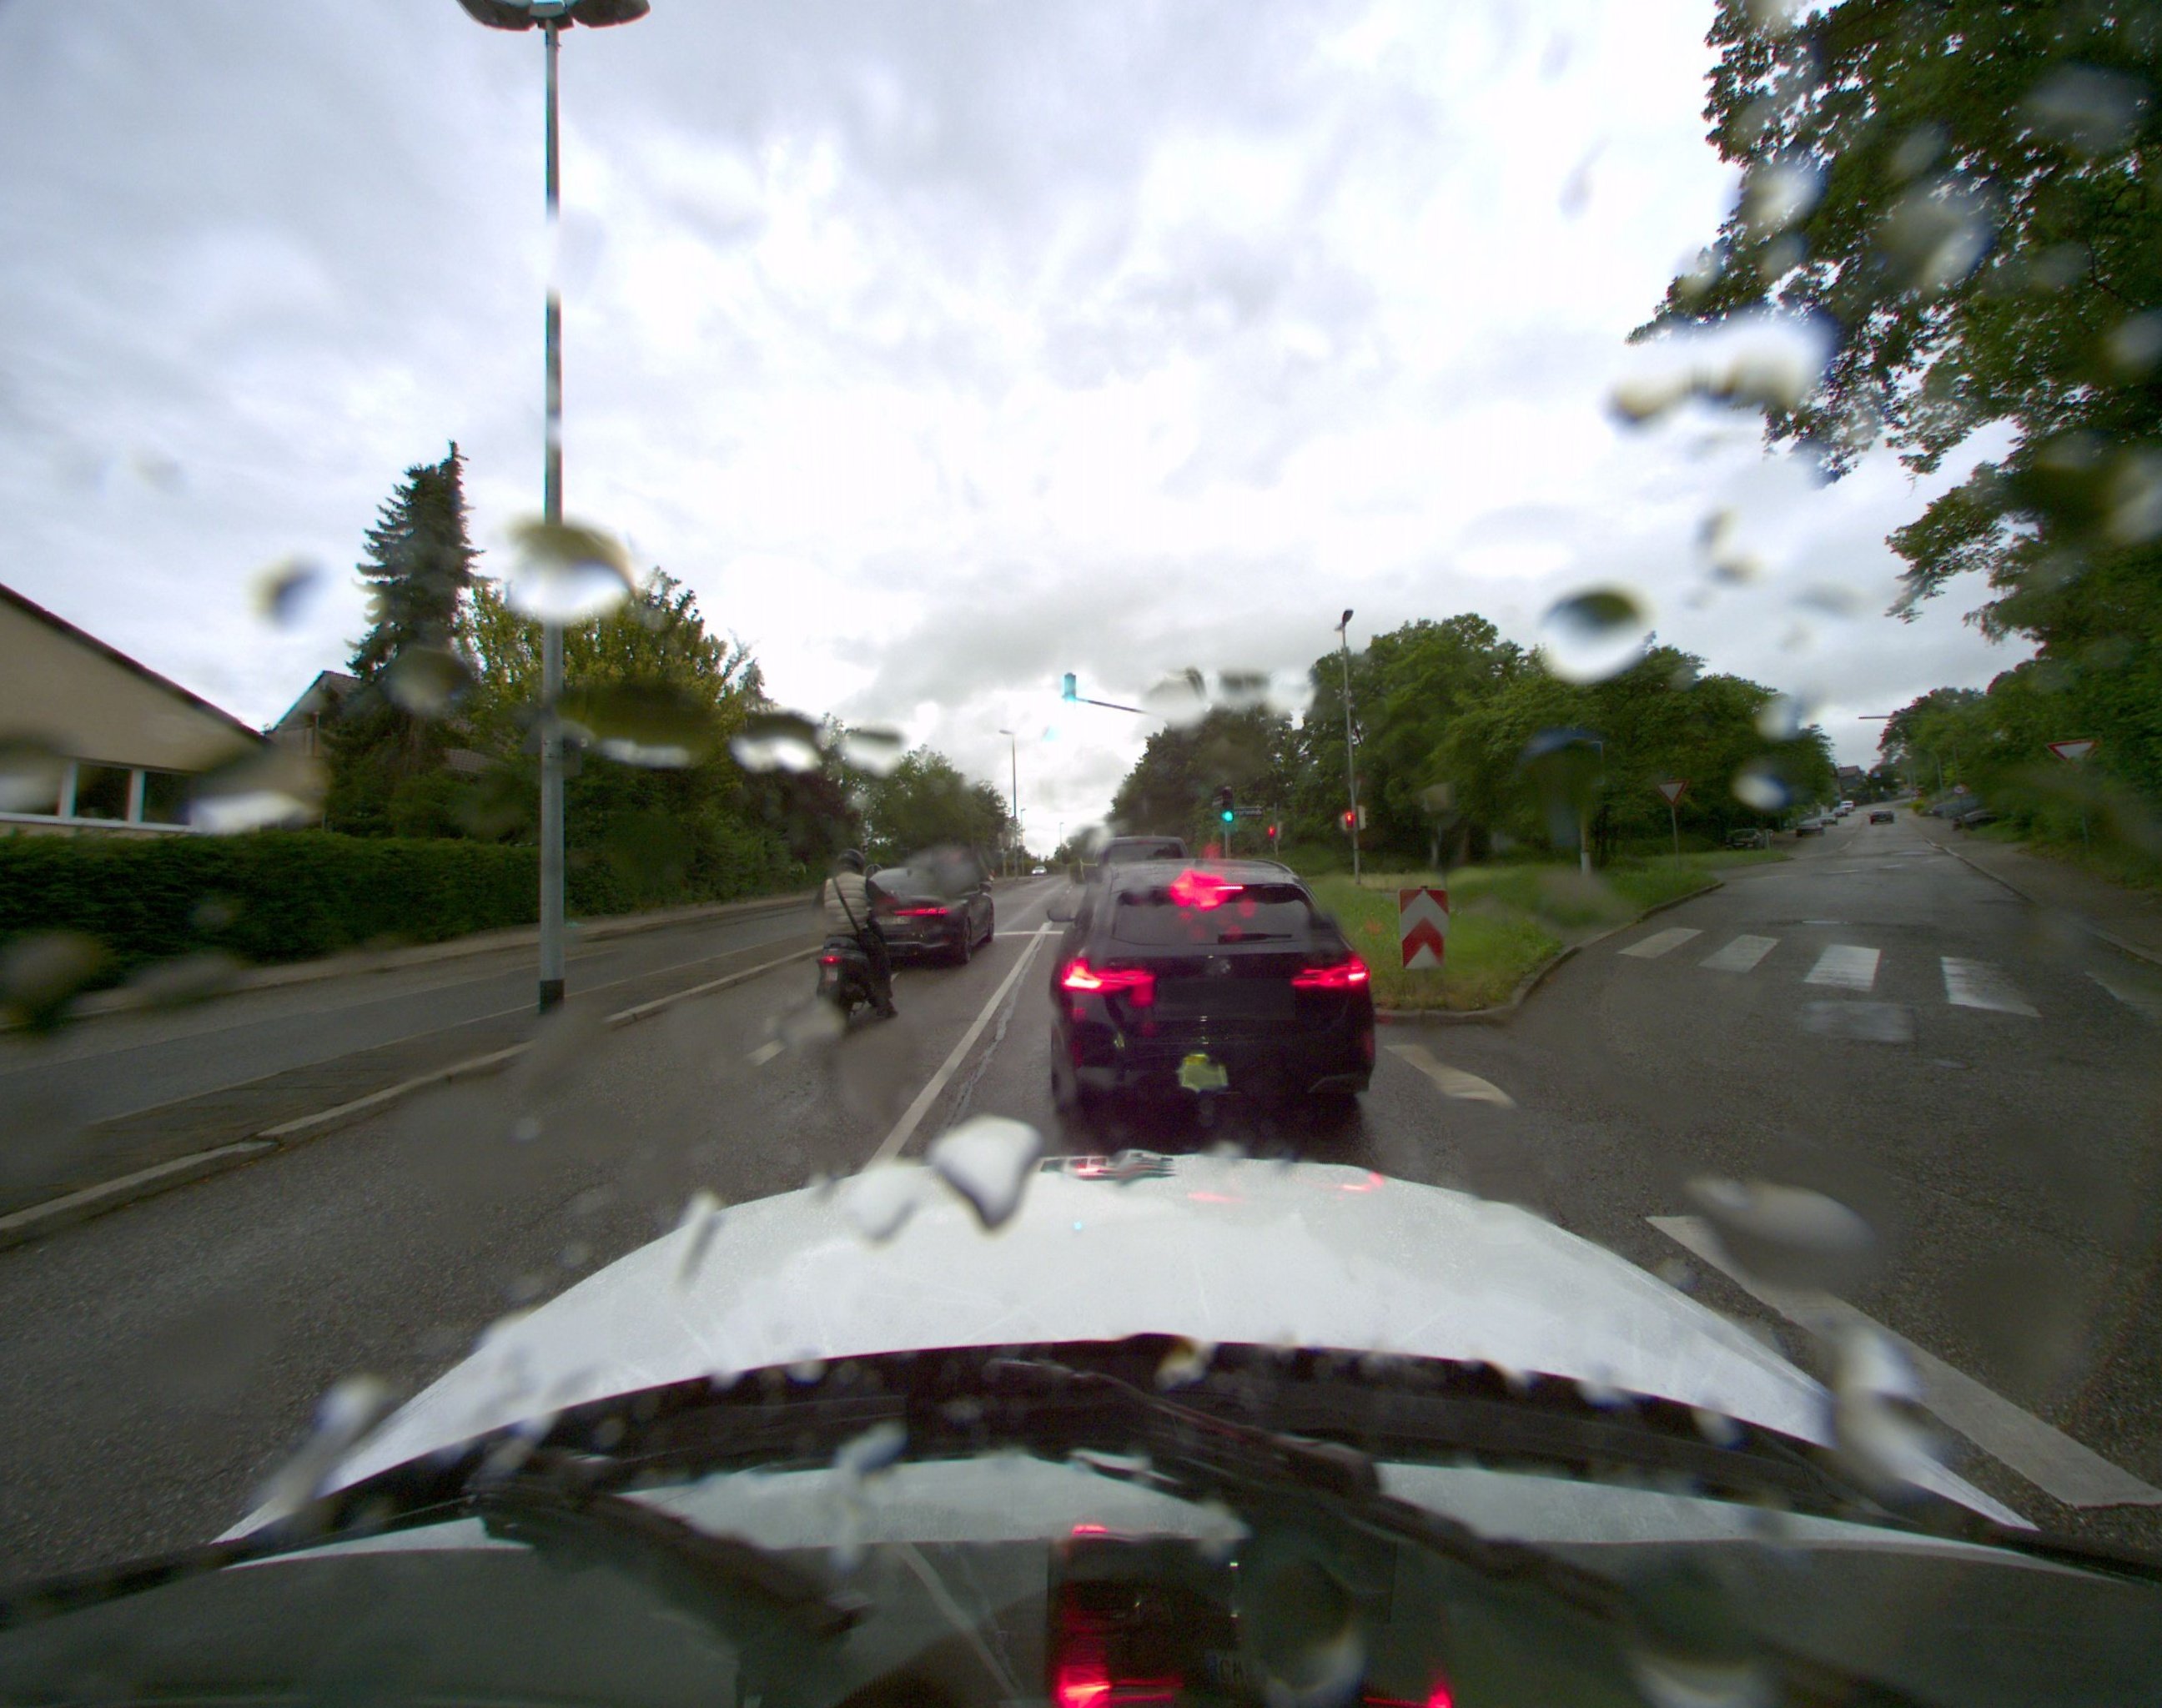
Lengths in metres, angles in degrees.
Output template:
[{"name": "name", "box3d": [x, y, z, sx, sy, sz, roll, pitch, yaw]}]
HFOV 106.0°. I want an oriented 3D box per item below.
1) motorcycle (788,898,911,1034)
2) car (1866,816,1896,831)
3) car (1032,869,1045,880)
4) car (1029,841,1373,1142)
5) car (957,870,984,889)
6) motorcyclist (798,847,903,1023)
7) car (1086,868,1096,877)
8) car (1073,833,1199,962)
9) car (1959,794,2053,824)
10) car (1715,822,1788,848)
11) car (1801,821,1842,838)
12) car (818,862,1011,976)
[{"name": "motorcycle", "box3d": [-2.199, 1.028, 7.920, 0.738, 1.119, 1.427, -1, 0, 2]}, {"name": "car", "box3d": [84.923, -3.232, 86.483, 1.921, 1.458, 4.242, -1, -1, 41]}, {"name": "car", "box3d": [-6.442, 3.115, 124.039, 1.721, 1.485, 4.157, -4, 0, 1]}, {"name": "car", "box3d": [0.680, 0.737, 6.071, 1.758, 1.536, 3.674, -1, -1, 2]}, {"name": "car", "box3d": [-9.940, 2.297, 73.525, 1.857, 1.492, 3.831, -3, 0, -1]}, {"name": "motorcyclist", "box3d": [-2.236, 0.768, 7.946, 0.842, 1.647, 0.468, -1, 0, 1]}, {"name": "car", "box3d": [1.997, 3.733, 163.516, 2.018, 1.563, 3.877, -3, -1, 1]}, {"name": "car", "box3d": [0.843, 0.612, 13.563, 1.760, 1.810, 3.907, -1, 0, 2]}, {"name": "car", "box3d": [61.055, -2.946, 53.856, 1.969, 1.648, 3.950, -2, 0, -45]}, {"name": "car", "box3d": [45.879, -1.284, 55.748, 3.994, 1.571, 1.819, -2, 0, -15]}, {"name": "car", "box3d": [66.488, -2.179, 73.120, 4.014, 1.446, 1.686, 0, -1, -32]}, {"name": "car", "box3d": [-2.406, 0.881, 13.024, 2.007, 1.415, 4.488, -1, 0, 2]}]
